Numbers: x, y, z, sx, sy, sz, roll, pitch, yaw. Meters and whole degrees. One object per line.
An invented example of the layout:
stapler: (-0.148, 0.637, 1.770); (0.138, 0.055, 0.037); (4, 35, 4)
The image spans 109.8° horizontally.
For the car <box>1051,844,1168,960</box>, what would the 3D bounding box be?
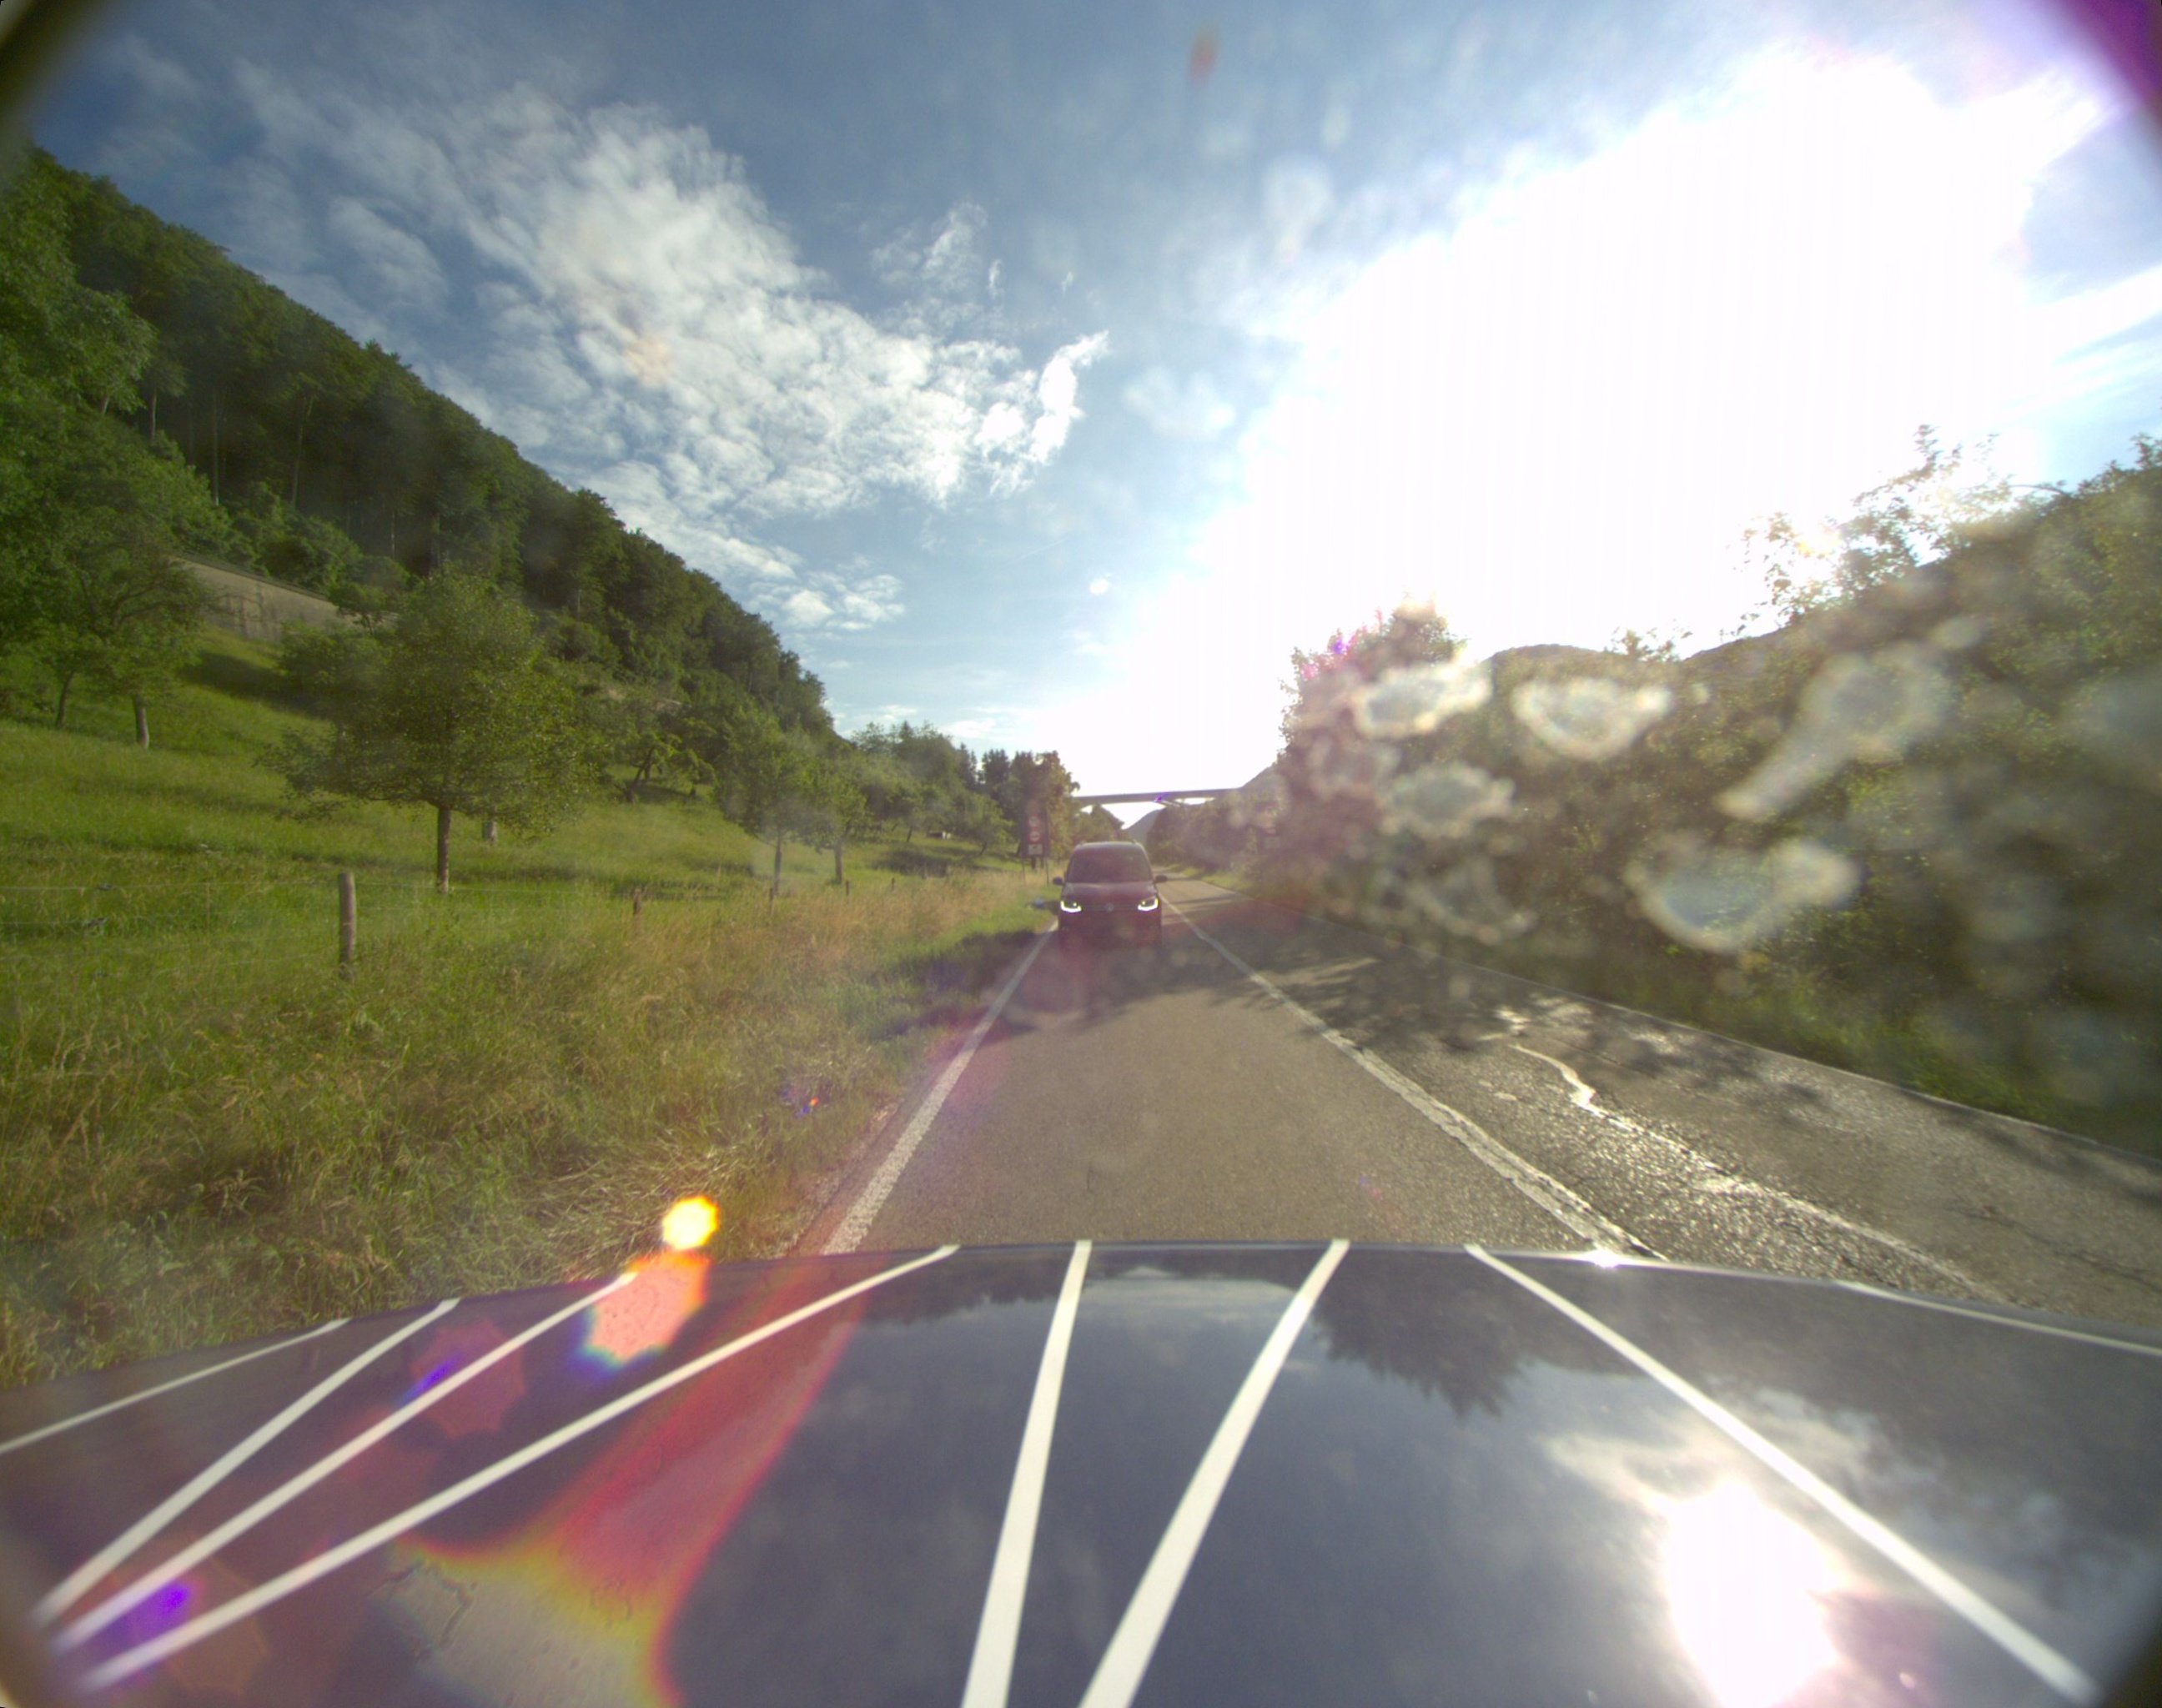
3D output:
car: (0.486, 0.724, 14.025); (1.759, 1.745, 4.429); (-2, 1, 1)

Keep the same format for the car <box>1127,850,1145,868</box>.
car: (5.767, 0.457, 79.108); (1.758, 1.745, 4.001); (-2, 1, 4)
